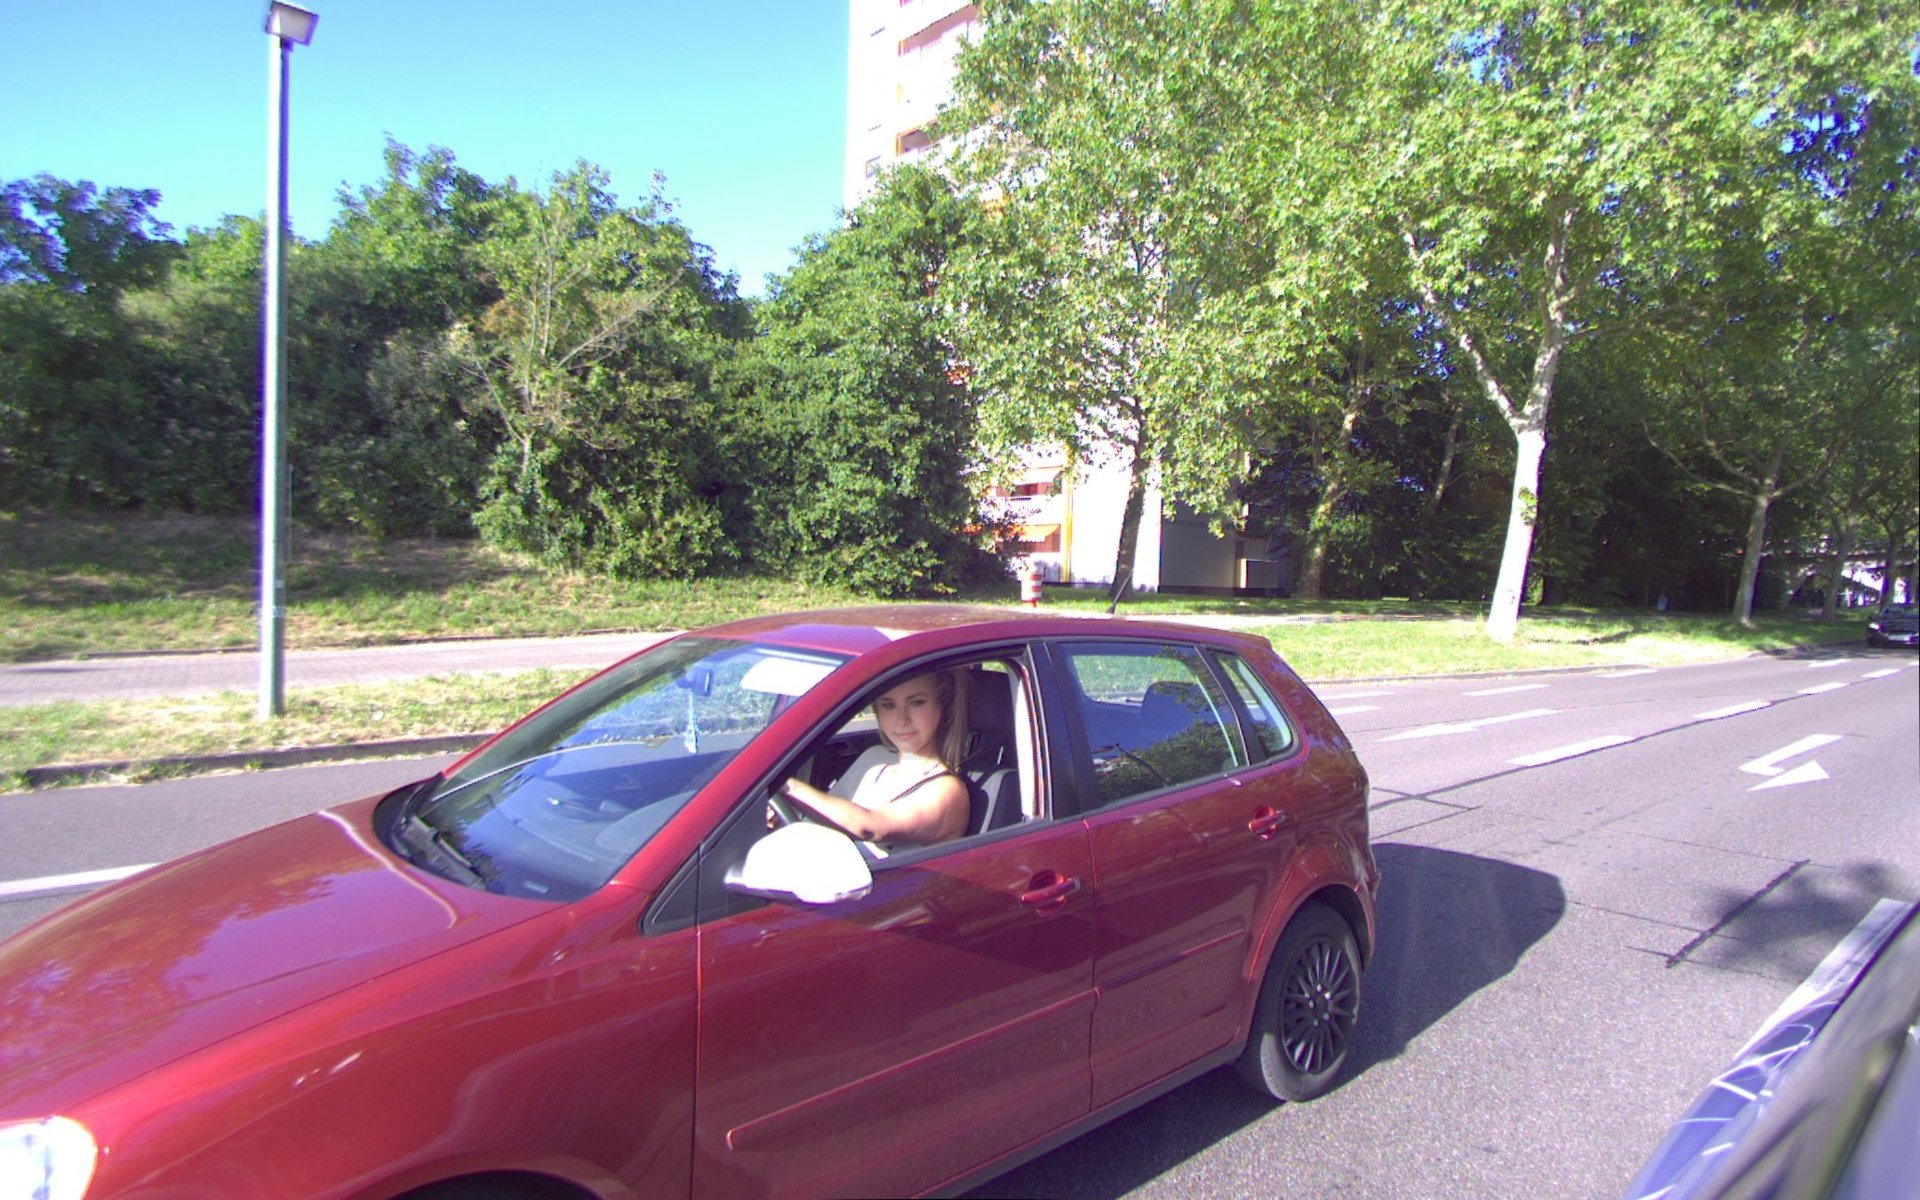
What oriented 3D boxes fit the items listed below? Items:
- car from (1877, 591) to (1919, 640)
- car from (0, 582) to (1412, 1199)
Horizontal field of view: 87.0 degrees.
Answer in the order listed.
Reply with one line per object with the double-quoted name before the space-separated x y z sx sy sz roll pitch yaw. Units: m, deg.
"car" 31.013 0.485 32.589 3.824 1.487 1.749 0 1 -41
"car" -0.468 0.692 2.758 3.627 1.434 1.626 0 1 -39
